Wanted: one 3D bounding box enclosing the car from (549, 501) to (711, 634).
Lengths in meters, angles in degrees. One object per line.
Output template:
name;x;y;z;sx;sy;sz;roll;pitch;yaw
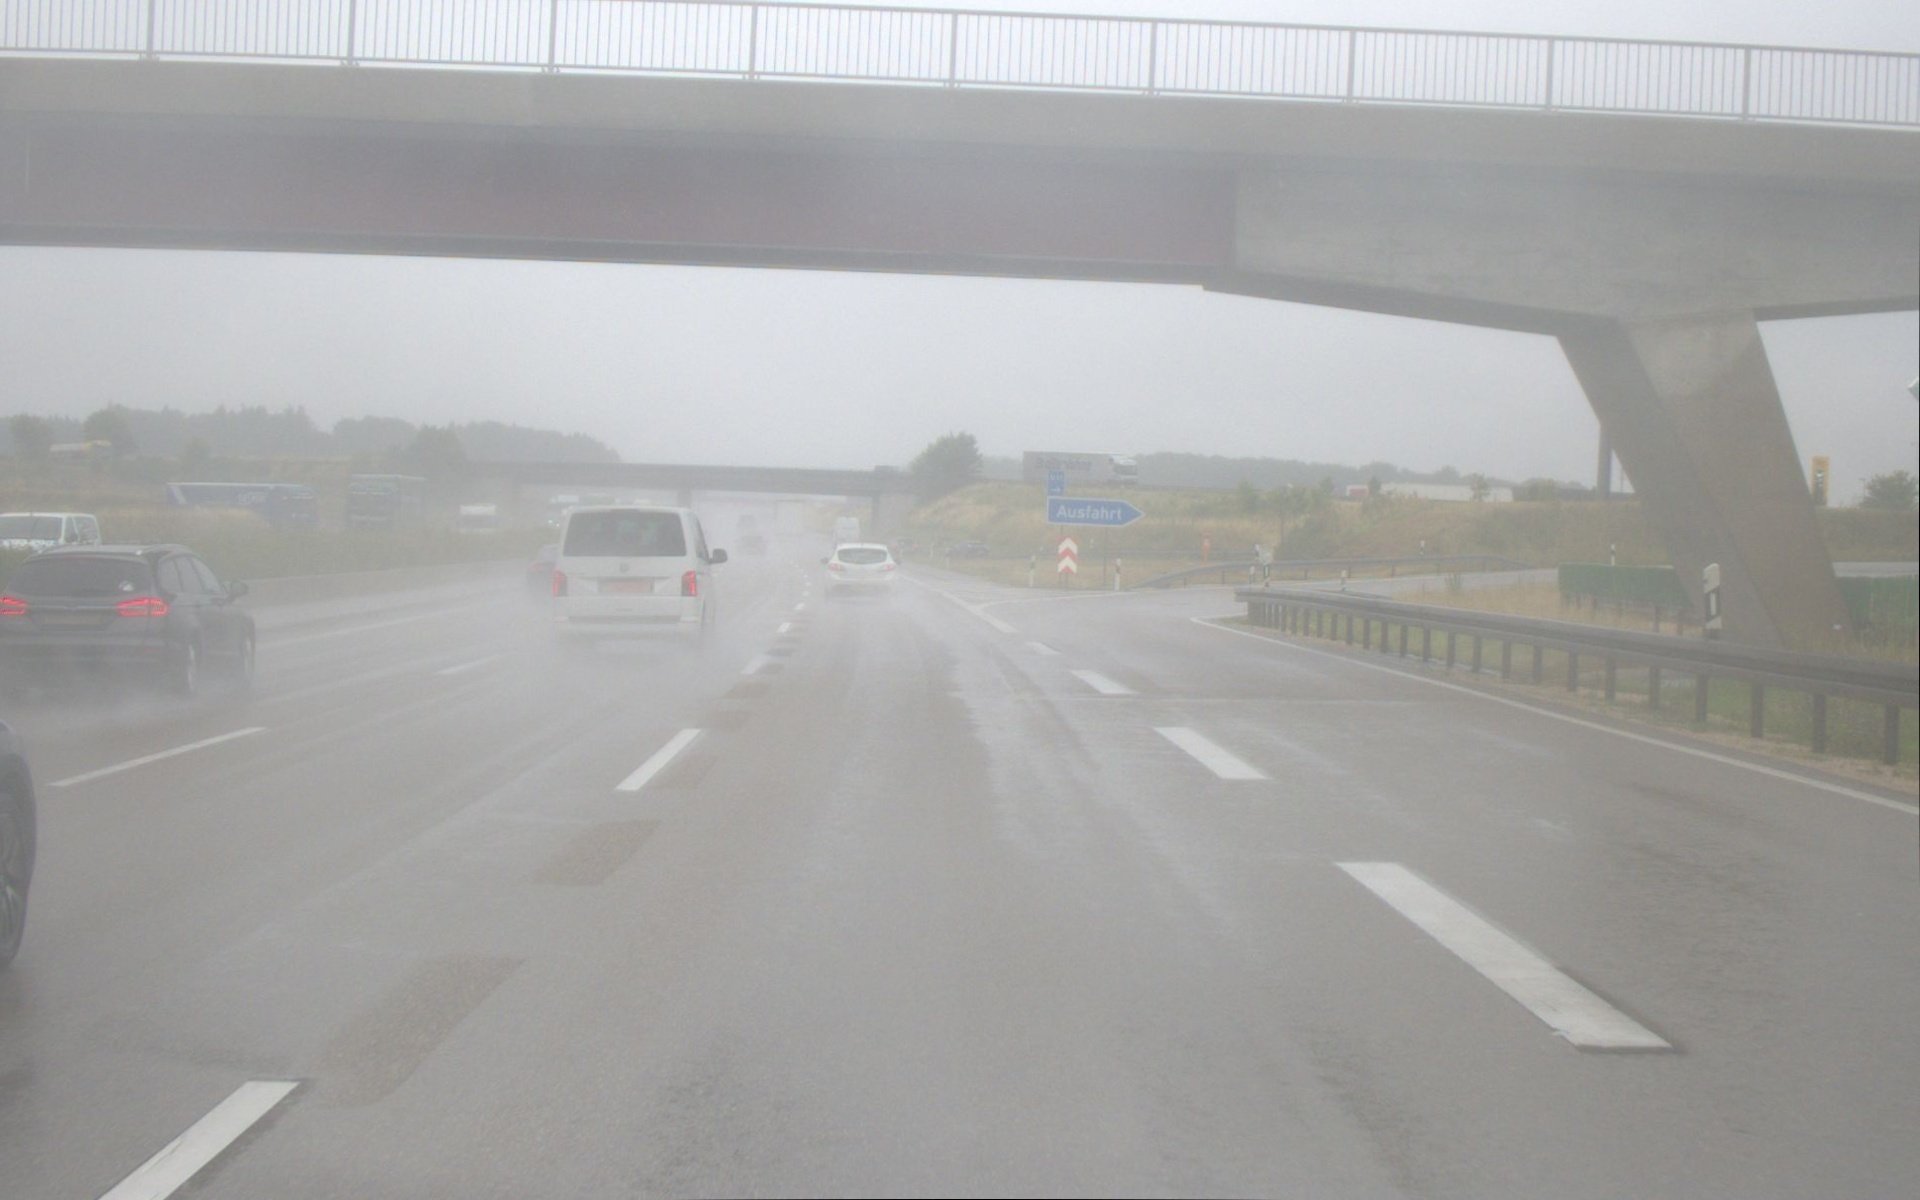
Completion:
car;-4.188;-0.425;44.133;1.897;1.580;4.001;1;1;-4

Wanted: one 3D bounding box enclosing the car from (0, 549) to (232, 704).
car;-7.981;0.205;32.692;1.612;1.349;4.001;1;1;-6

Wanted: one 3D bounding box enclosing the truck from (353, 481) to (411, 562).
truck;-28.923;-3.904;172.180;2.213;3.970;5.185;1;1;-2

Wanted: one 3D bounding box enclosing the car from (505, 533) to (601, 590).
car;-9.185;-0.868;77.748;1.468;1.253;3.339;1;1;6

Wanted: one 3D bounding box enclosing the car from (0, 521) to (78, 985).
car;-3.972;0.497;10.631;1.846;1.508;4.758;1;1;-8

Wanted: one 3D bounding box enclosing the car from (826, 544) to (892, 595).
car;-2.419;-0.749;83.116;1.468;1.204;2.991;1;1;1
